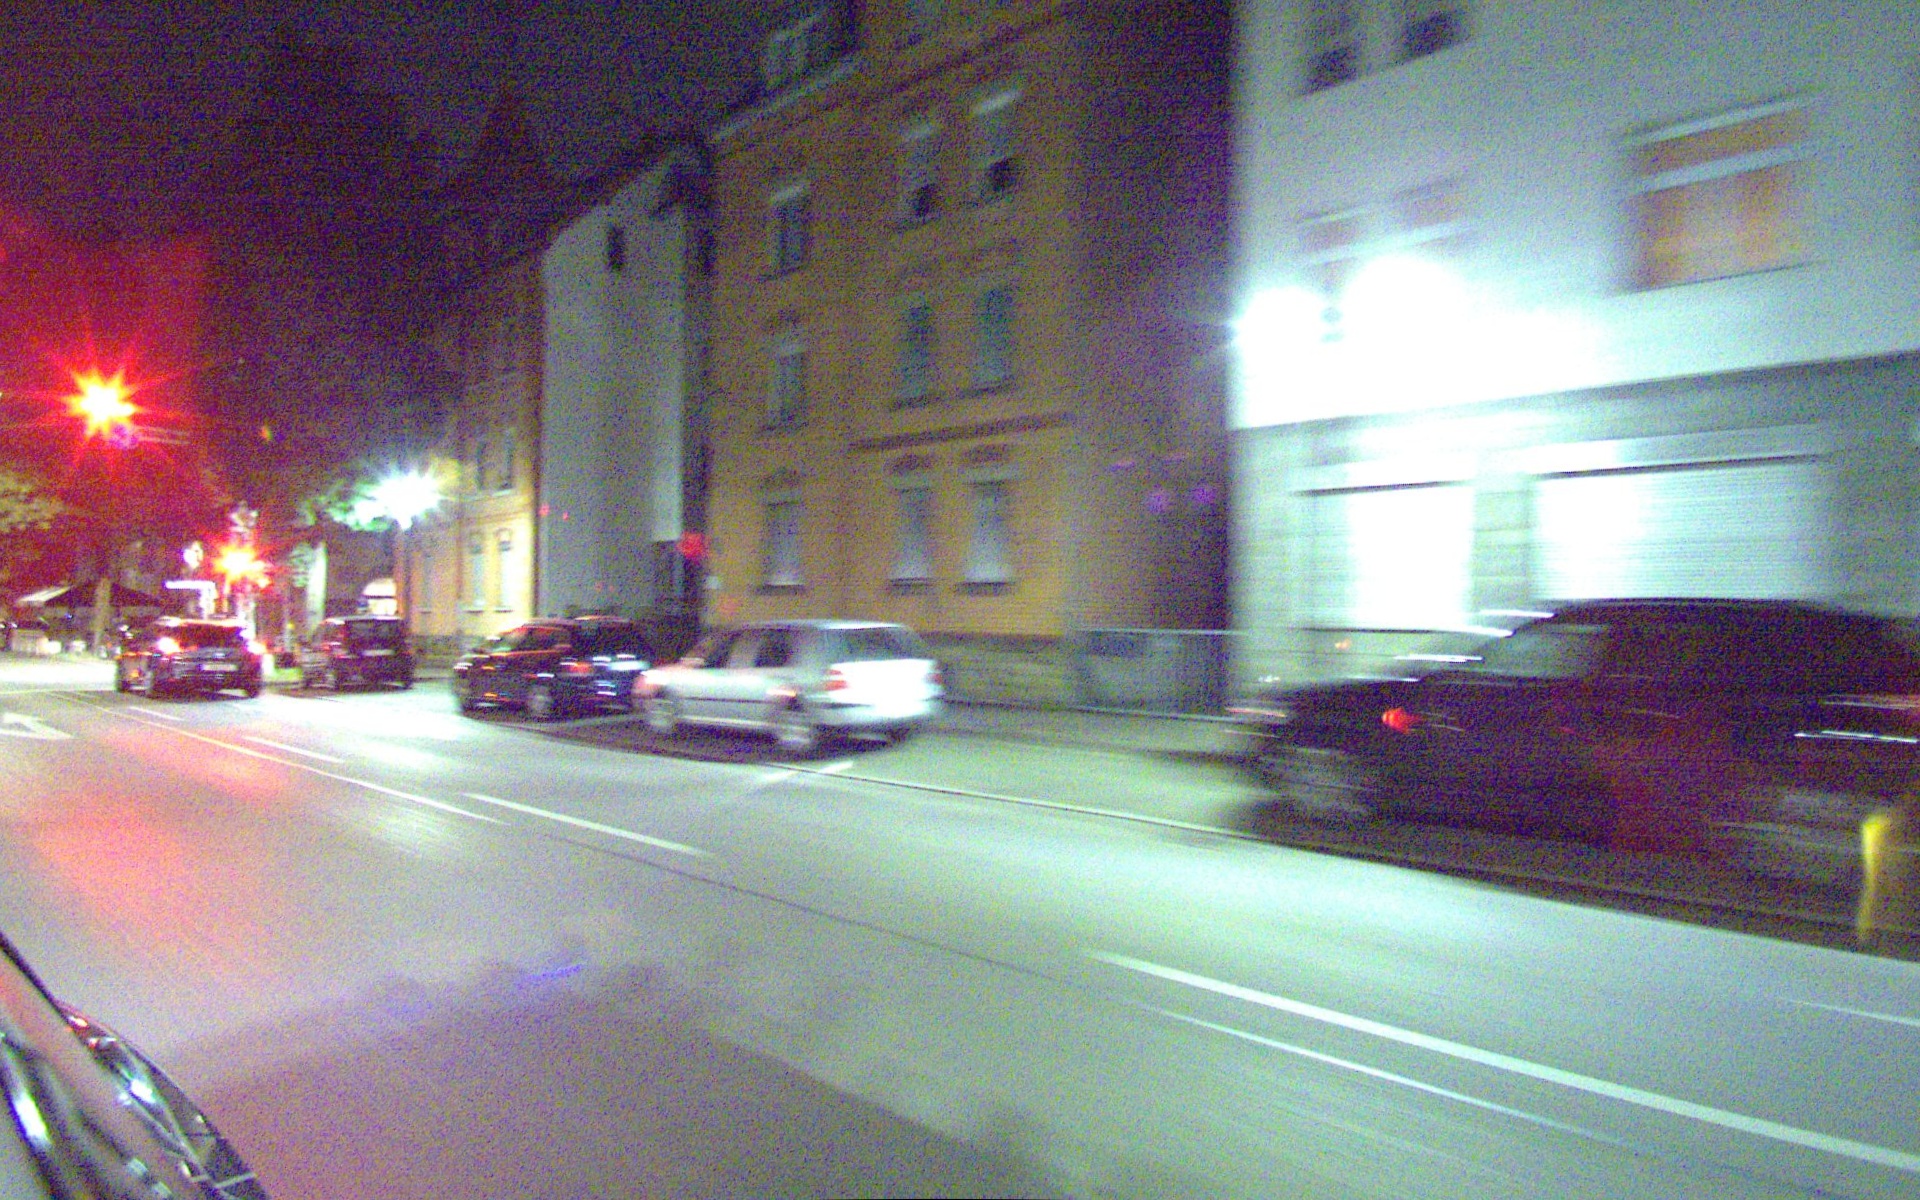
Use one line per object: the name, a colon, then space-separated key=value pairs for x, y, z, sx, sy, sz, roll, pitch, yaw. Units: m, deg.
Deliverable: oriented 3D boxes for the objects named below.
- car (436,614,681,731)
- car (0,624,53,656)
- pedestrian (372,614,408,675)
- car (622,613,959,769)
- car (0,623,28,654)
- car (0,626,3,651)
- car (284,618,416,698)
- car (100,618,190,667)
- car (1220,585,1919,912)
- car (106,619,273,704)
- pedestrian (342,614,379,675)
car: x=-6.324 y=1.023 z=15.716 sx=4.328 sy=1.502 sz=1.766 roll=-1 pitch=0 yaw=42
car: x=-45.137 y=1.896 z=48.577 sx=4.440 sy=1.444 sz=1.842 roll=-1 pitch=-1 yaw=41
pedestrian: x=-16.337 y=1.276 z=29.012 sx=0.700 sy=1.703 sz=0.999 roll=2 pitch=-3 yaw=-39
car: x=-2.098 y=0.933 z=11.875 sx=3.998 sy=1.502 sz=1.766 roll=-1 pitch=-1 yaw=41
car: x=-49.125 y=1.936 z=51.615 sx=4.470 sy=1.490 sz=1.841 roll=-1 pitch=-1 yaw=41
car: x=-58.932 y=2.293 z=60.537 sx=4.398 sy=1.444 sz=1.843 roll=-1 pitch=-1 yaw=38
car: x=-13.204 y=1.185 z=21.829 sx=3.701 sy=1.502 sz=1.574 roll=-1 pitch=0 yaw=45
car: x=-28.733 y=1.456 z=35.627 sx=4.023 sy=1.608 sz=1.866 roll=-1 pitch=0 yaw=42
car: x=4.176 y=0.755 z=6.713 sx=4.410 sy=1.594 sz=1.766 roll=-1 pitch=0 yaw=42
car: x=-14.725 y=1.129 z=19.274 sx=3.998 sy=1.440 sz=1.697 roll=-1 pitch=-4 yaw=41
pedestrian: x=-16.895 y=1.246 z=28.534 sx=0.700 sy=1.703 sz=1.126 roll=2 pitch=-3 yaw=-39
